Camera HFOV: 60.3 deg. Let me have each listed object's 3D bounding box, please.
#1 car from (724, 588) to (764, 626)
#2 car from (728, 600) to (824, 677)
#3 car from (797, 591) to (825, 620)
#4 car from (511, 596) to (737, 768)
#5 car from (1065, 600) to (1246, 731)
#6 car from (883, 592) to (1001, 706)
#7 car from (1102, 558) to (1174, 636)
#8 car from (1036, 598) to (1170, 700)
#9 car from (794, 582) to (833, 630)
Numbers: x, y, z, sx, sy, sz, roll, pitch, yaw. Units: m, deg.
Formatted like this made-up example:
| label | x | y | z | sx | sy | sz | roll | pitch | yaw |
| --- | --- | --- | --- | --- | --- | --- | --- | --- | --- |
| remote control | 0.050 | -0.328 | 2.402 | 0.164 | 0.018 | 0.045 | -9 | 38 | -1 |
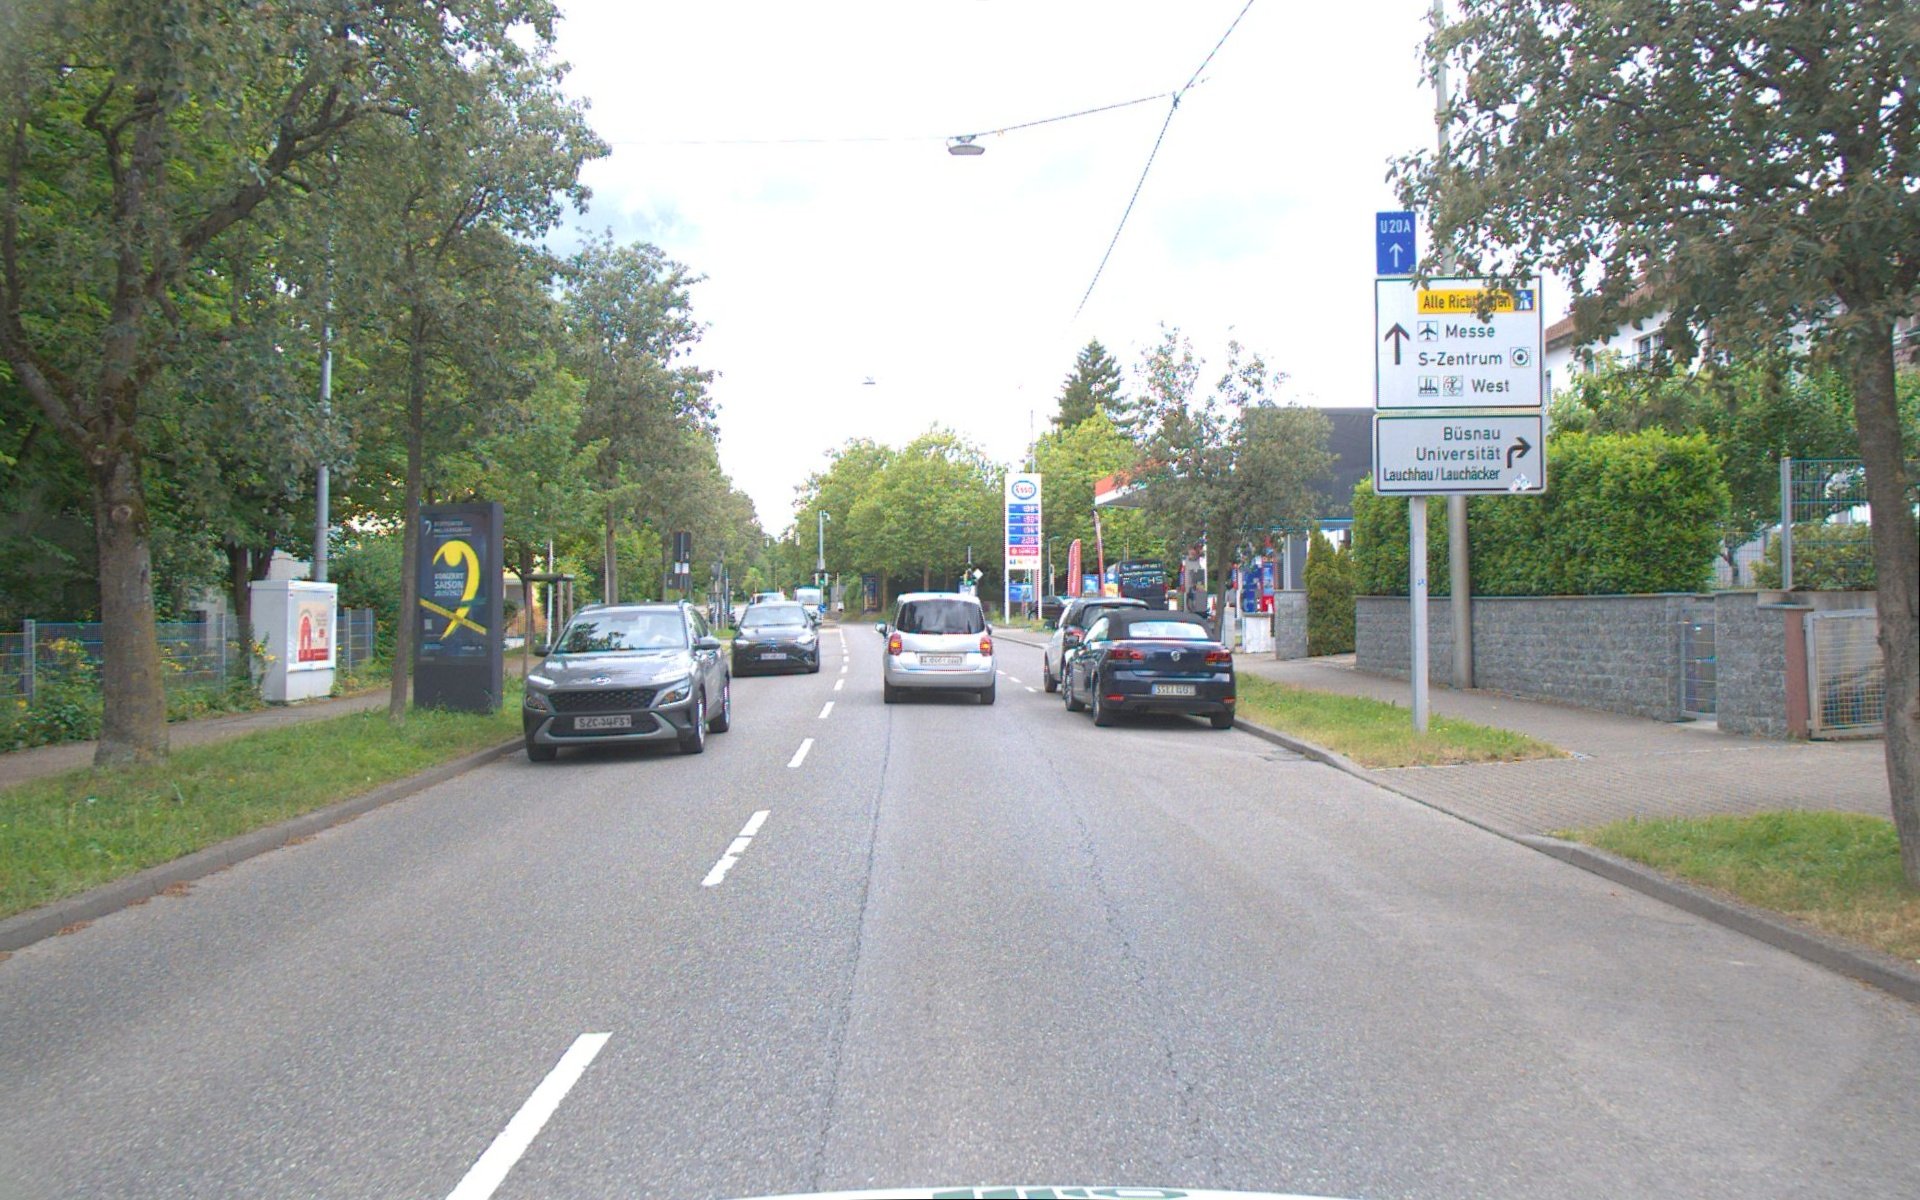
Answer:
| label | x | y | z | sx | sy | sz | roll | pitch | yaw |
| --- | --- | --- | --- | --- | --- | --- | --- | --- | --- |
| car | -12.019 | 0.395 | 92.094 | 1.896 | 2.049 | 3.998 | 0 | 0 | -3 |
| car | -3.847 | 0.767 | 35.056 | 1.661 | 1.532 | 3.644 | 0 | 0 | -1 |
| car | -10.697 | 0.365 | 118.597 | 1.705 | 2.049 | 3.999 | 0 | 0 | -1 |
| car | -3.522 | 0.790 | 17.969 | 1.757 | 1.582 | 3.670 | -3 | 0 | -2 |
| car | 2.434 | 0.767 | 21.476 | 1.661 | 1.532 | 3.970 | 0 | 0 | -3 |
| car | -0.319 | 0.678 | 24.969 | 1.646 | 1.587 | 3.510 | 1 | 0 | -2 |
| car | 7.122 | -0.105 | 66.746 | 2.235 | 2.962 | 5.278 | 1 | 0 | -1 |
| car | 2.250 | 0.741 | 26.886 | 1.661 | 1.532 | 3.642 | 0 | 0 | -3 |
| car | -7.647 | 0.325 | 86.594 | 1.896 | 2.450 | 3.998 | 0 | 0 | -3 |
